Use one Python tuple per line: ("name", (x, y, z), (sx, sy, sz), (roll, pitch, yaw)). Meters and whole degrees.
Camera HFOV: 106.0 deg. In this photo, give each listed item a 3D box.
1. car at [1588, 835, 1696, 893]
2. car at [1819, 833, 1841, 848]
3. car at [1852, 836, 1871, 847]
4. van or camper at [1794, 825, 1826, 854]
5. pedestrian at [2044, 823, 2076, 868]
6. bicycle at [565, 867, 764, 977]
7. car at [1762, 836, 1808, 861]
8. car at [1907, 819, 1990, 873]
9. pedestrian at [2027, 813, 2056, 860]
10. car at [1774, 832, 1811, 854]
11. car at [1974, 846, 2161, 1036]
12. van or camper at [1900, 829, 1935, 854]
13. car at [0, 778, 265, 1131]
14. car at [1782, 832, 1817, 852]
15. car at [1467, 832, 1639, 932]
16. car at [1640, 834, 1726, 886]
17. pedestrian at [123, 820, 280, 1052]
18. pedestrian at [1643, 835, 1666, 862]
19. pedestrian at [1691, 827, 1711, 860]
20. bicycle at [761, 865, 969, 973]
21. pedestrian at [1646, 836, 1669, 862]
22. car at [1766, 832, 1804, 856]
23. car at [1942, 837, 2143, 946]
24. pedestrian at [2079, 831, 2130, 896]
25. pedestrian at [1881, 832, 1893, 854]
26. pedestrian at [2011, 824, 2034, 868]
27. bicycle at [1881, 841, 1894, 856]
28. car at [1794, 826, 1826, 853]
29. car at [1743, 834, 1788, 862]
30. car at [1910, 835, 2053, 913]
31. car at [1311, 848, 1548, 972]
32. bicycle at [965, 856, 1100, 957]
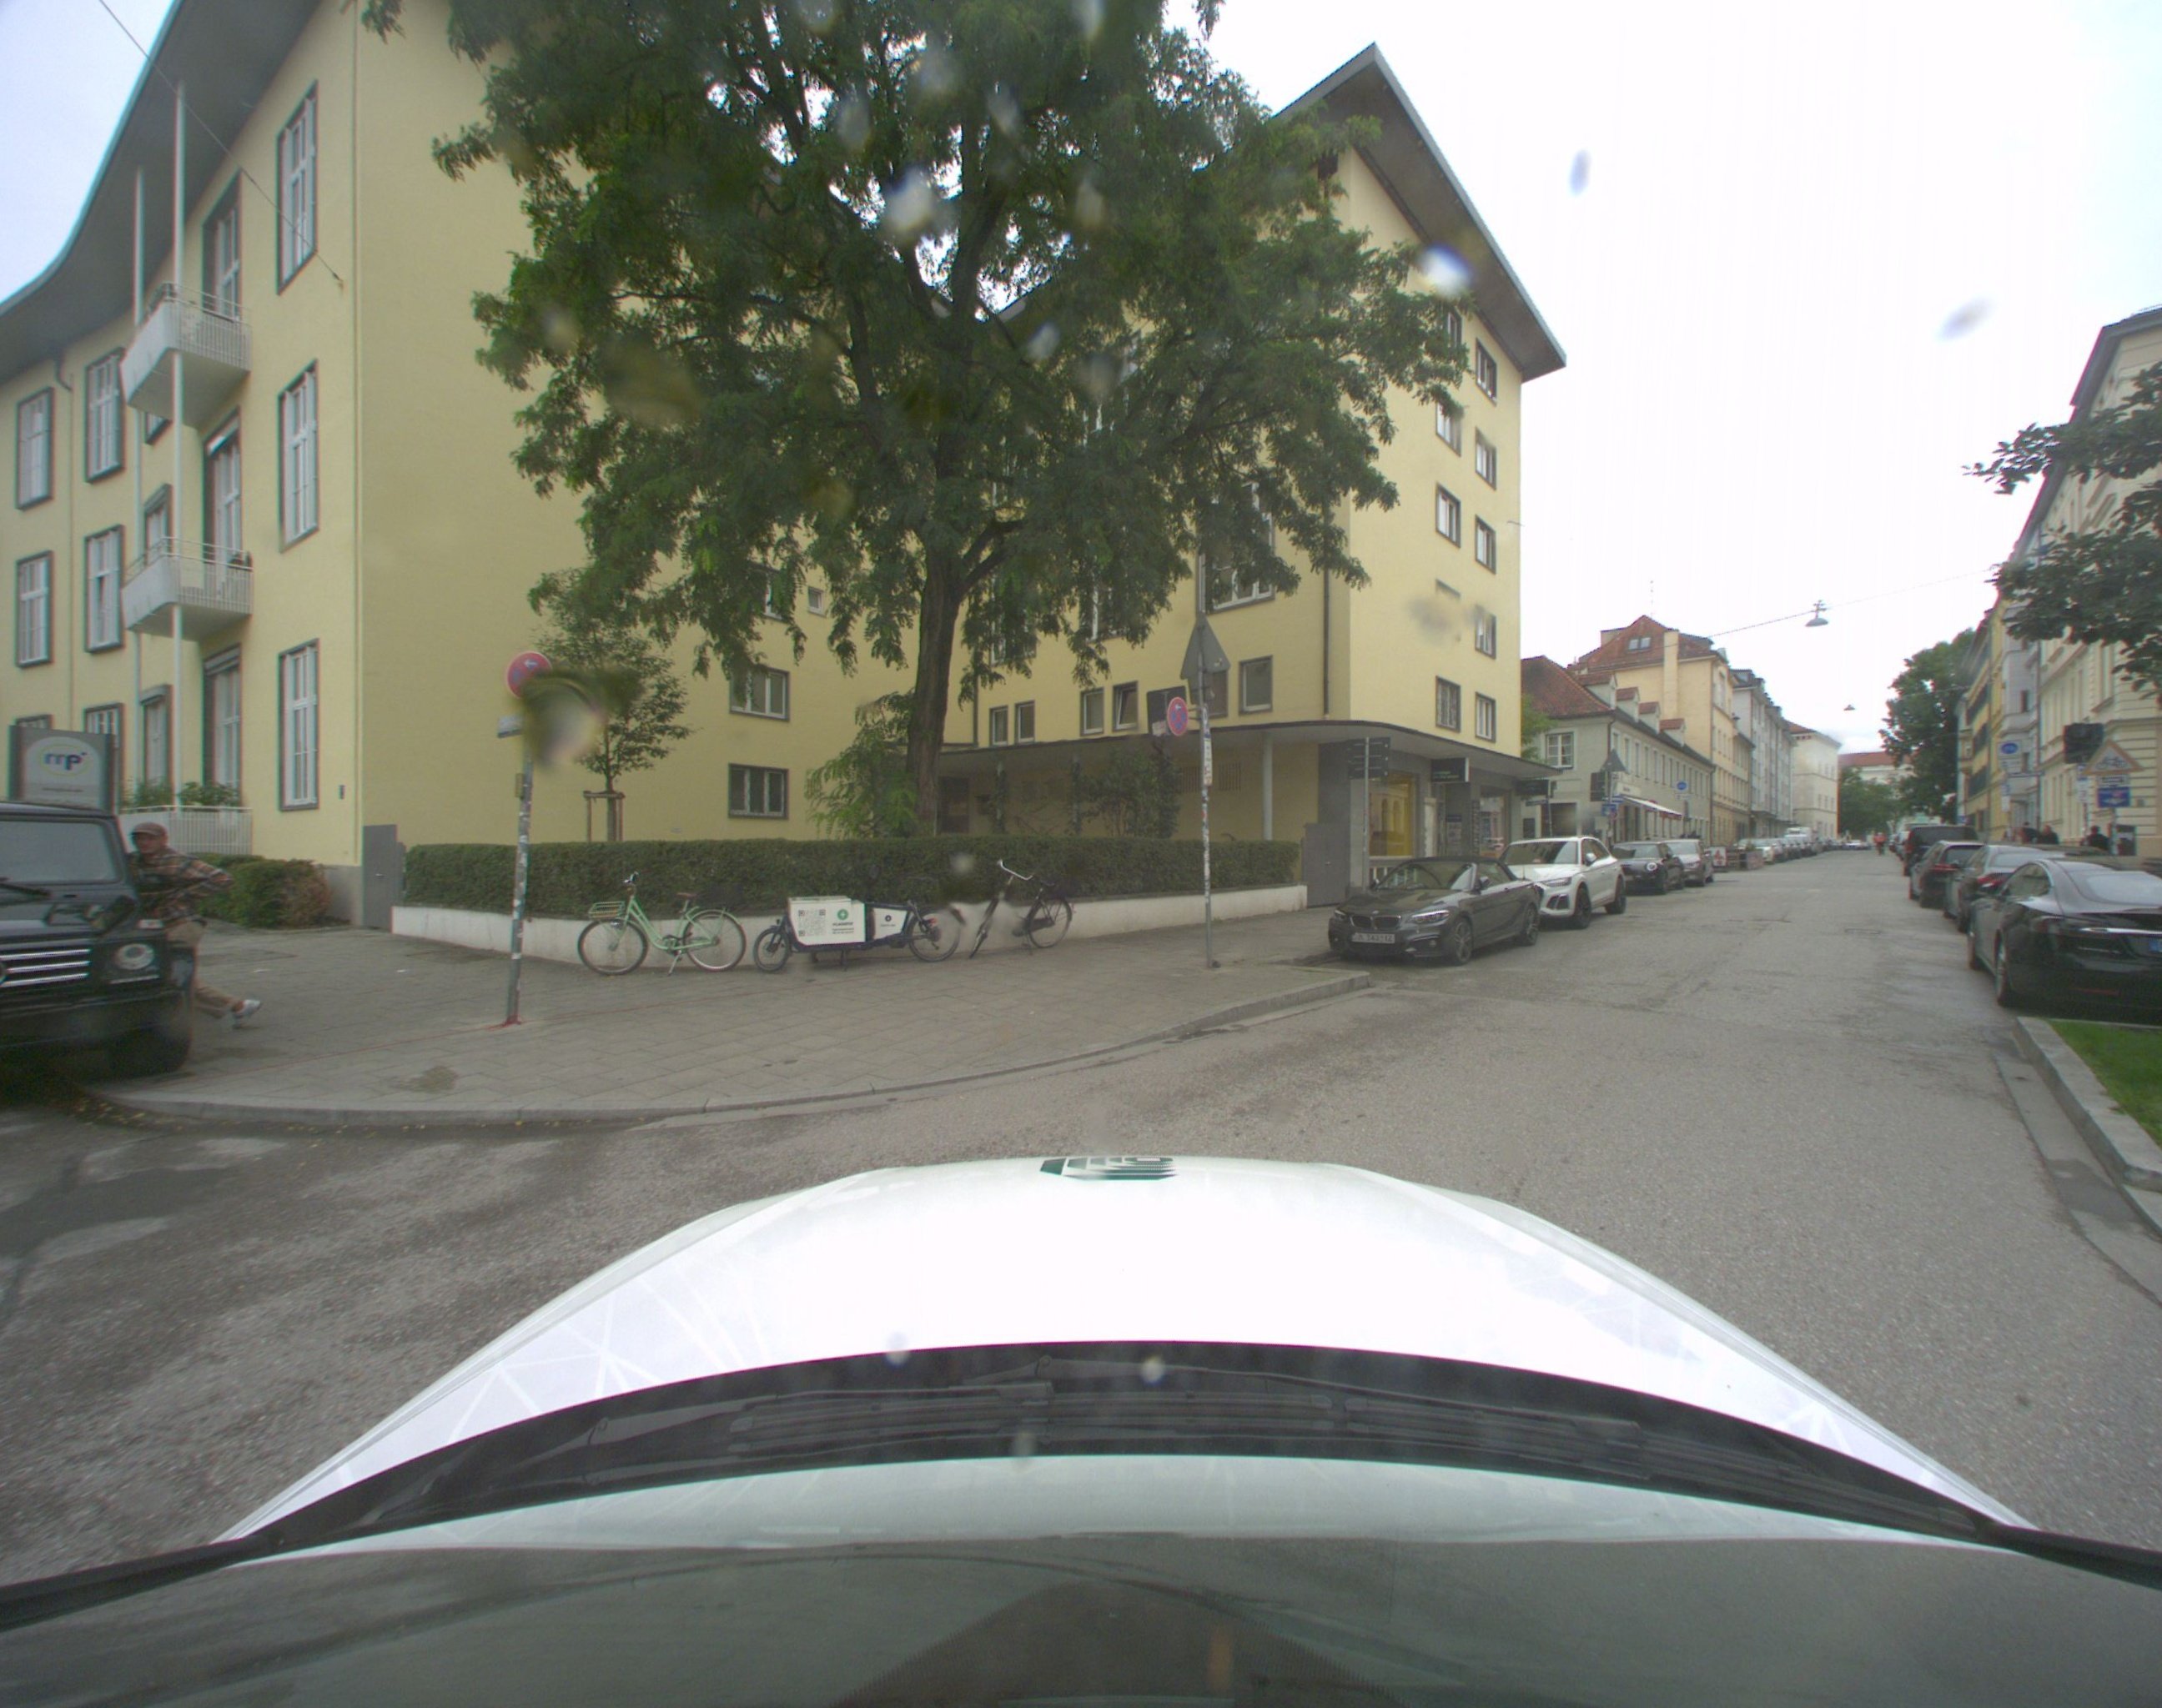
("car", (15.685, 0.237, 22.687), (4.121, 1.471, 1.664), (-2, 0, -44))
("car", (83.647, -1.474, 90.957), (1.691, 1.609, 3.886), (-1, 0, 44))
("car", (114.841, -1.826, 119.840), (3.884, 1.581, 1.691), (-1, 0, -42))
("van or camper", (59.796, -1.210, 66.786), (1.738, 2.281, 5.304), (0, 1, 44))
("pedestrian", (35.948, -0.296, 29.912), (0.652, 1.620, 0.985), (0, -1, 44))
("bicycle", (-4.709, 0.758, 9.263), (1.937, 1.156, 0.584), (-1, 2, 4))
("car", (41.279, -0.347, 47.695), (1.782, 1.339, 4.713), (1, 2, 44))
("car", (32.314, -0.330, 30.390), (5.283, 1.864, 1.980), (-1, 2, -44))
("pedestrian", (41.901, -0.757, 35.540), (0.712, 1.981, 0.663), (1, -4, -44))
("car", (48.848, -0.746, 55.913), (1.799, 1.441, 4.157), (-1, 0, 41))
("car", (10.251, 0.673, 7.980), (1.786, 1.410, 4.684), (1, 2, 45))
("van or camper", (64.391, -0.954, 62.717), (5.108, 1.871, 1.817), (-1, 1, -45))
("car", (-7.955, 0.571, 5.824), (4.364, 2.001, 1.948), (0, -1, 31))
("car", (52.356, -0.852, 59.306), (1.738, 1.408, 4.128), (1, 1, 44))
("car", (9.222, 0.449, 15.743), (1.786, 1.584, 4.364), (-2, 1, 45))
("car", (19.154, 0.140, 25.819), (1.663, 1.471, 4.980), (-2, 0, 42))
("pedestrian", (-7.226, 0.630, 6.730), (0.641, 1.798, 0.556), (-3, 2, -27))
("pedestrian", (28.129, -0.250, 39.929), (0.697, 1.290, 0.796), (1, -1, -45))
("pedestrian", (36.085, -0.598, 47.419), (0.815, 1.898, 0.832), (0, -1, 44))
("bicycle", (-2.506, 0.719, 9.550), (2.298, 1.126, 0.579), (0, 2, -21))
("pedestrian", (28.637, -0.247, 40.451), (0.697, 1.290, 0.796), (1, -1, -45))
("car", (45.191, -0.650, 52.254), (1.738, 1.496, 4.226), (1, 1, 42))
("car", (15.738, 0.477, 13.568), (1.631, 1.424, 4.537), (3, 4, 44))
("pedestrian", (27.768, 0.244, 22.105), (0.712, 1.717, 1.010), (0, -1, 44))
("pedestrian", (61.594, -0.826, 62.208), (0.636, 1.714, 0.847), (0, -1, 45))
("pedestrian", (35.308, -0.294, 30.537), (0.467, 1.625, 1.076), (0, -1, 44))
("bicycle", (61.595, -0.421, 62.202), (0.669, 1.095, 1.770), (0, -1, 44))
("car", (56.127, -1.125, 62.766), (1.738, 1.995, 4.654), (0, 1, 41))
("car", (37.165, -0.366, 44.181), (1.738, 1.475, 3.737), (1, 2, 42))
("car", (19.425, 0.332, 17.729), (1.660, 1.424, 4.229), (3, 4, 43))
("car", (5.205, 0.679, 11.881), (4.122, 1.410, 1.729), (-2, 0, -45))
("bicycle", (-0.613, 0.654, 10.895), (1.864, 1.210, 0.557), (-1, 1, -43))
